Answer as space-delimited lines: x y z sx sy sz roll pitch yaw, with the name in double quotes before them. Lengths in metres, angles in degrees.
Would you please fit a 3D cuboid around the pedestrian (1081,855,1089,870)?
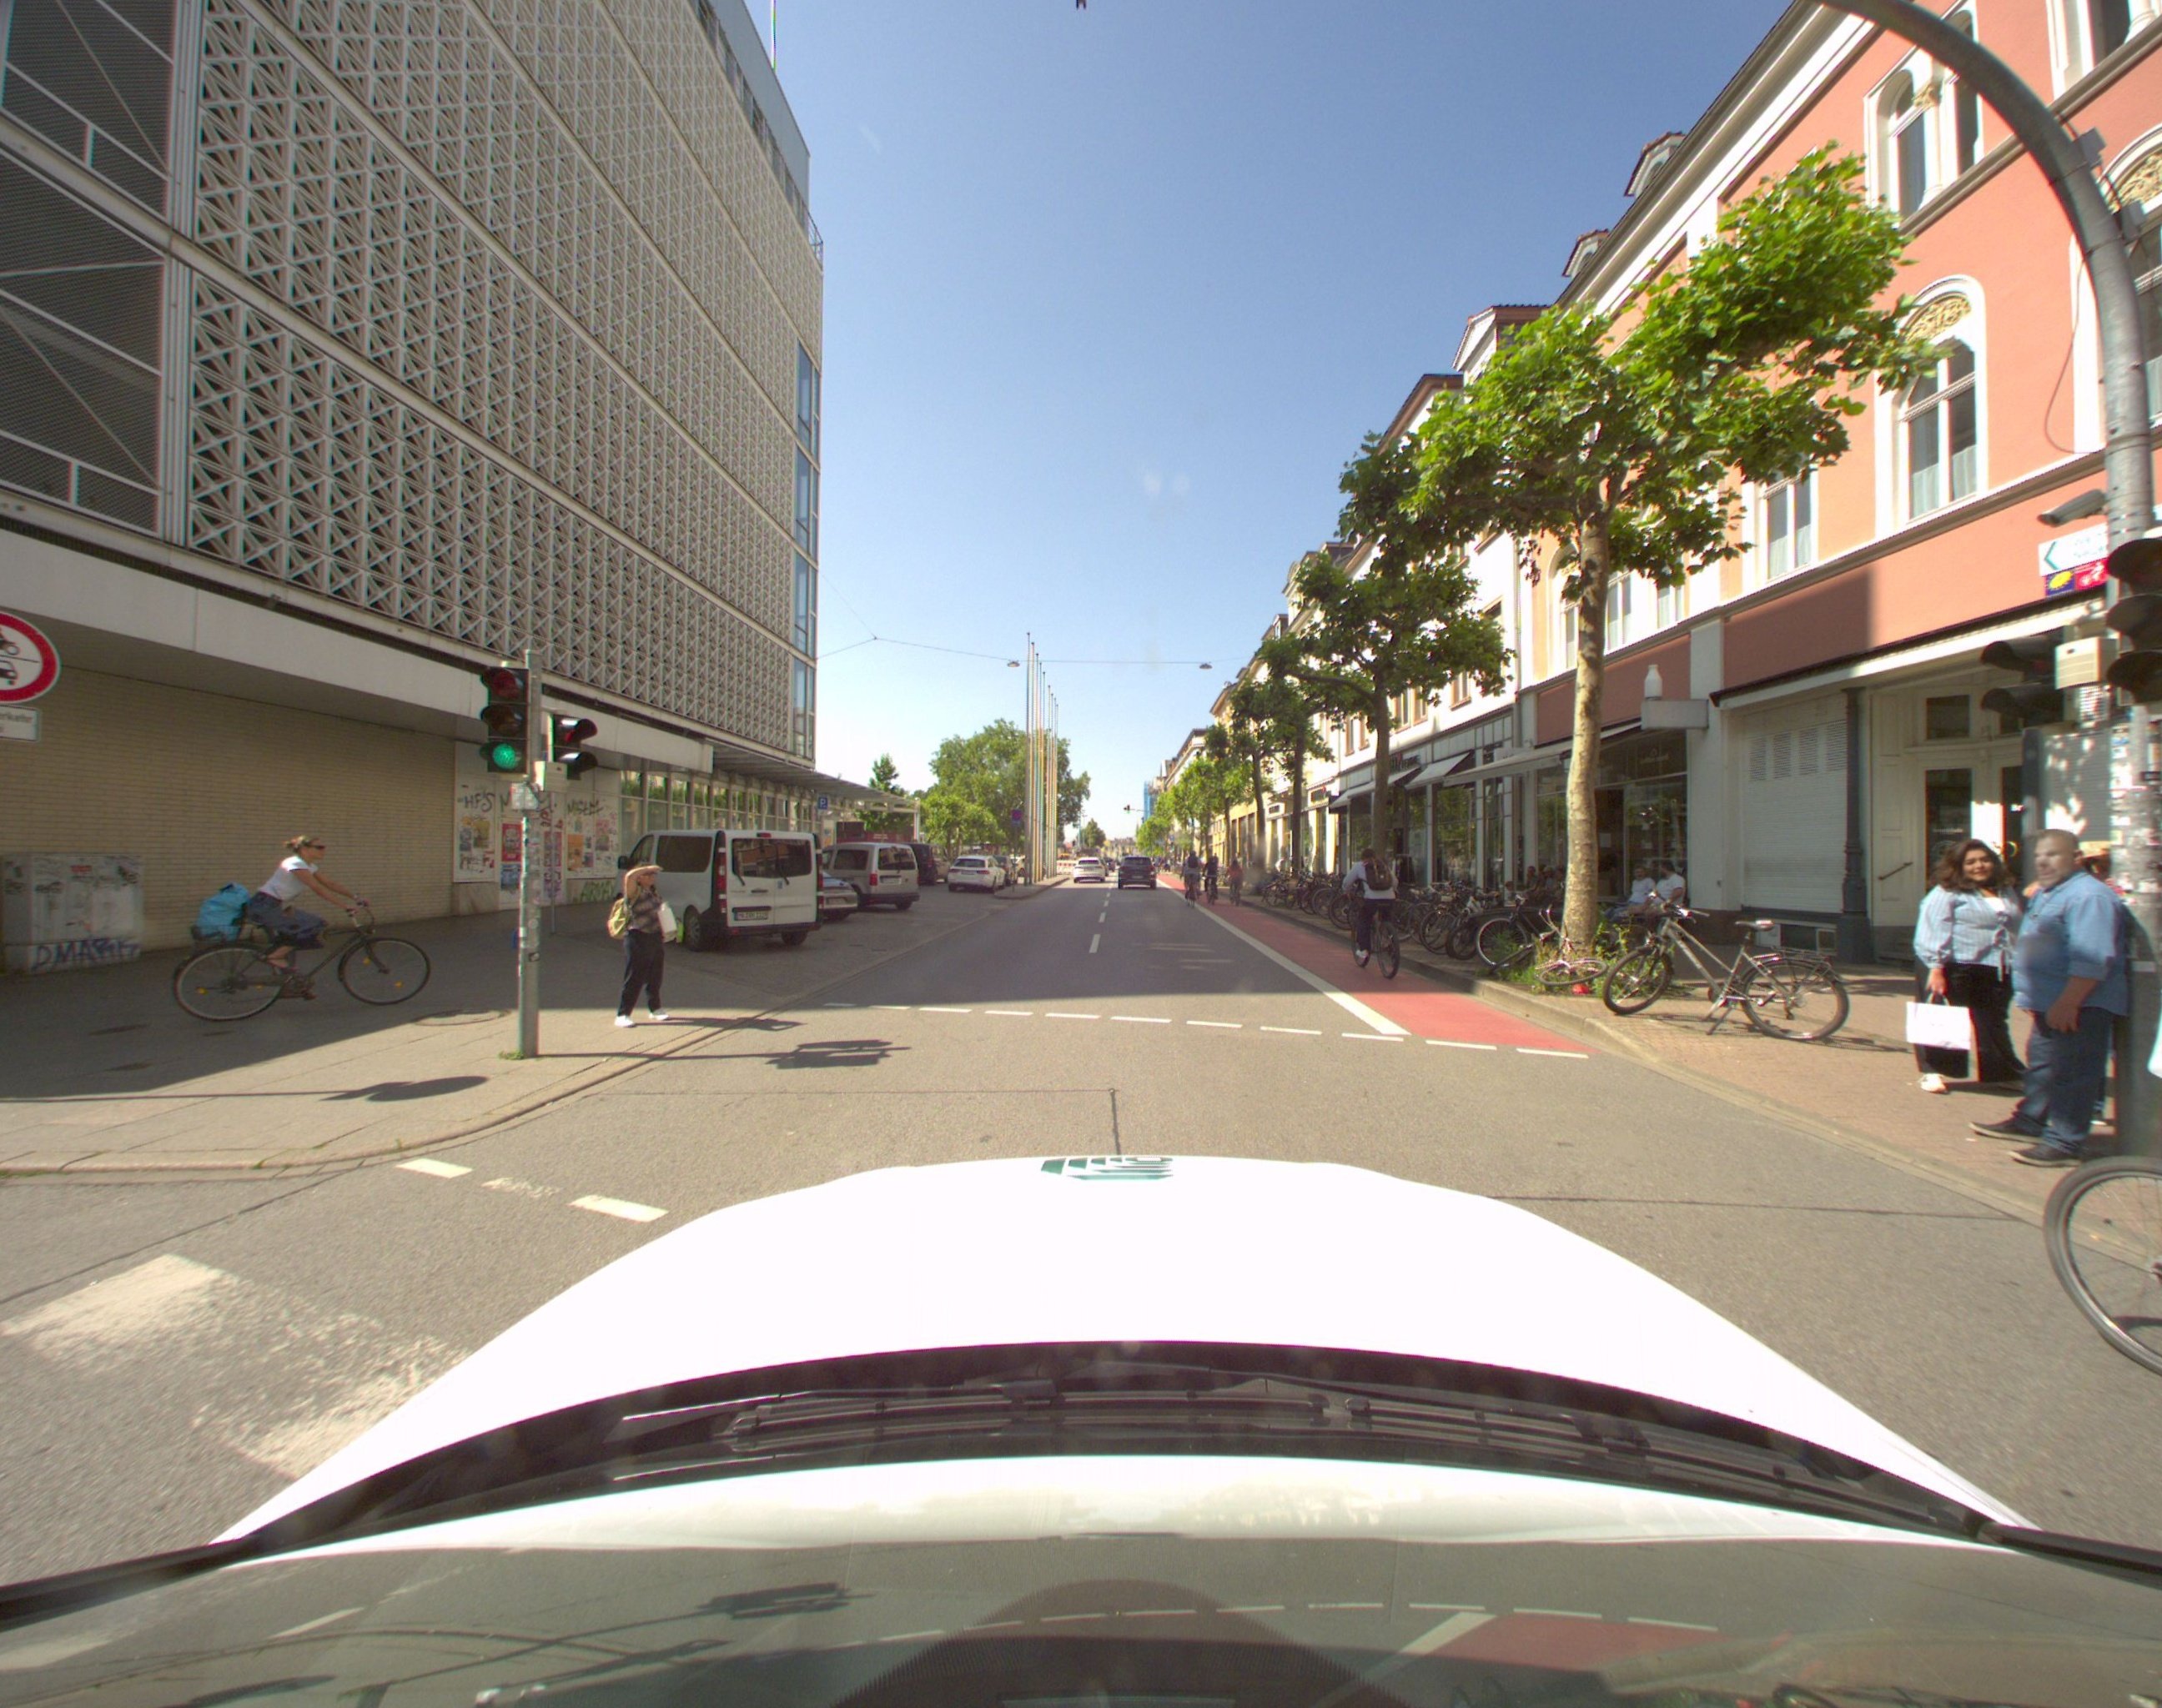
"pedestrian" 0.435 0.945 90.035 0.627 1.595 0.690 0 -1 23

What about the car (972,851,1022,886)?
"car" -4.042 0.653 39.867 1.754 1.600 4.711 0 0 2

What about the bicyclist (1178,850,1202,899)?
"bicyclist" 3.375 0.640 25.319 0.628 1.481 1.199 0 -1 2

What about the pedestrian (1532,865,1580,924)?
"pedestrian" 10.369 0.876 17.787 0.637 1.253 0.608 -2 -2 0

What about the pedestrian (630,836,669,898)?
"pedestrian" -11.187 0.332 21.112 0.677 1.559 0.640 0 0 -3

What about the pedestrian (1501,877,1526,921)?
"pedestrian" 9.870 1.015 18.589 0.339 0.968 0.437 0 0 4

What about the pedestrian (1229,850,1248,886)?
"pedestrian" 7.450 0.656 38.532 0.637 1.689 0.843 3 0 0

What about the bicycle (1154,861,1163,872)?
"bicycle" 6.877 1.090 72.305 0.644 0.998 2.032 0 0 2

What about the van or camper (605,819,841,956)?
"van or camper" -6.403 0.440 14.298 4.602 2.013 2.012 2 1 42

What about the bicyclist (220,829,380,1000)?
"bicyclist" -7.549 0.536 7.935 1.082 1.539 0.727 0 0 -41

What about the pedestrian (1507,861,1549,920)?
"pedestrian" 10.381 0.835 18.931 0.679 1.338 0.532 0 0 0

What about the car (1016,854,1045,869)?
"car" -6.683 0.959 107.608 1.842 1.955 4.787 0 -1 24

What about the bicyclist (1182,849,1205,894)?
"bicyclist" 4.174 0.635 30.357 0.771 1.635 0.852 0 0 3

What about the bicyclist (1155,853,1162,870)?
"bicyclist" 6.869 0.672 72.218 0.644 1.551 0.818 0 -1 2

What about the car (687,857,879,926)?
"car" -6.919 0.793 18.785 4.244 1.286 1.983 2 0 34

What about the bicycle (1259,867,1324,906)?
"bicycle" 6.410 0.986 24.885 1.832 1.093 0.565 2 -1 2

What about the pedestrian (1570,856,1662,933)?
"pedestrian" 10.226 0.762 15.610 1.229 1.422 0.789 0 -2 0

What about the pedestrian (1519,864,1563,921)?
"pedestrian" 10.383 0.859 18.386 0.679 1.253 0.532 -1 0 0

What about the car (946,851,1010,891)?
"car" -4.212 0.658 34.068 1.792 1.523 4.742 1 0 3

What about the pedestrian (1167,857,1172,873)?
"pedestrian" 9.250 1.145 84.956 0.546 1.631 0.590 -1 -1 5

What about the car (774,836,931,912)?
"car" -6.395 0.473 22.630 4.389 1.909 2.022 1 0 39

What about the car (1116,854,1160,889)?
"car" 2.637 0.800 38.645 1.839 1.559 4.000 -1 0 0

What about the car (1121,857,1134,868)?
"car" 7.120 1.256 125.726 1.838 1.668 4.002 2 0 2

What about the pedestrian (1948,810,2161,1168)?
"pedestrian" 5.272 0.681 4.419 0.451 1.795 0.608 2 0 0

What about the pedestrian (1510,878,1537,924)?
"pedestrian" 9.737 1.025 17.927 0.363 0.968 0.437 0 0 4

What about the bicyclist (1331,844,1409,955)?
"bicyclist" 3.967 0.600 11.239 0.696 1.446 0.960 2 -1 -1

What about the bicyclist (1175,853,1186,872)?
"bicyclist" 9.610 0.846 78.526 0.577 1.797 0.848 -2 0 -32

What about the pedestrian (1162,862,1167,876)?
"pedestrian" 8.970 1.631 87.328 0.520 1.521 0.642 -1 -1 6

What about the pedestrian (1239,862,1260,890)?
"pedestrian" 7.612 1.008 36.802 0.785 1.243 0.576 1 -2 0

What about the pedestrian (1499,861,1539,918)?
"pedestrian" 10.489 0.846 19.525 0.679 1.333 0.532 0 0 0

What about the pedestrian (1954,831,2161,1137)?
"pedestrian" 5.961 0.729 4.859 0.785 1.690 0.641 2 0 0

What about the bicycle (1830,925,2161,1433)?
"bicycle" 3.291 0.938 2.037 0.729 1.268 2.282 1 1 1

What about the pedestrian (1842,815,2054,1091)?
"pedestrian" 5.948 0.645 5.624 0.785 1.795 0.641 1 0 0

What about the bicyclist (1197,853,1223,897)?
"bicyclist" 4.301 0.689 27.147 0.696 1.440 0.790 2 -1 -1

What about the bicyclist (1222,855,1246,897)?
"bicyclist" 5.088 0.732 27.113 0.598 1.357 0.721 2 1 -1

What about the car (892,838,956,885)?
"car" -7.156 0.311 37.651 1.824 2.013 4.689 0 0 3

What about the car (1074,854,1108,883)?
"car" 0.627 0.813 47.533 1.838 1.560 4.003 -1 0 3

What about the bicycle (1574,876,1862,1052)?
"bicycle" 5.444 0.864 7.076 1.833 1.188 0.721 4 3 40

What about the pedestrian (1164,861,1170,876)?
"pedestrian" 10.743 1.774 101.631 0.608 1.824 0.678 1 -1 1

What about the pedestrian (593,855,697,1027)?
"pedestrian" -4.147 0.797 7.790 0.639 1.559 0.679 2 0 -9

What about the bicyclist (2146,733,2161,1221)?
"bicyclist" 3.303 0.501 1.845 0.728 1.673 0.774 -1 -1 0

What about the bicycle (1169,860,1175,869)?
"bicycle" 11.706 1.293 105.001 0.396 1.114 1.433 -1 0 23

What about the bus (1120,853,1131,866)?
"bus" 13.444 1.723 246.389 2.983 3.594 11.749 0 -1 2

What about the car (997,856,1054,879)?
"car" -4.097 0.967 60.865 1.873 1.541 4.892 1 1 30

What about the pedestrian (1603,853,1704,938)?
"pedestrian" 10.342 0.737 14.744 1.248 1.483 0.837 1 -1 0

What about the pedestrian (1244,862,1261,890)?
"pedestrian" 7.611 0.981 36.170 0.637 1.233 0.597 1 -2 0
